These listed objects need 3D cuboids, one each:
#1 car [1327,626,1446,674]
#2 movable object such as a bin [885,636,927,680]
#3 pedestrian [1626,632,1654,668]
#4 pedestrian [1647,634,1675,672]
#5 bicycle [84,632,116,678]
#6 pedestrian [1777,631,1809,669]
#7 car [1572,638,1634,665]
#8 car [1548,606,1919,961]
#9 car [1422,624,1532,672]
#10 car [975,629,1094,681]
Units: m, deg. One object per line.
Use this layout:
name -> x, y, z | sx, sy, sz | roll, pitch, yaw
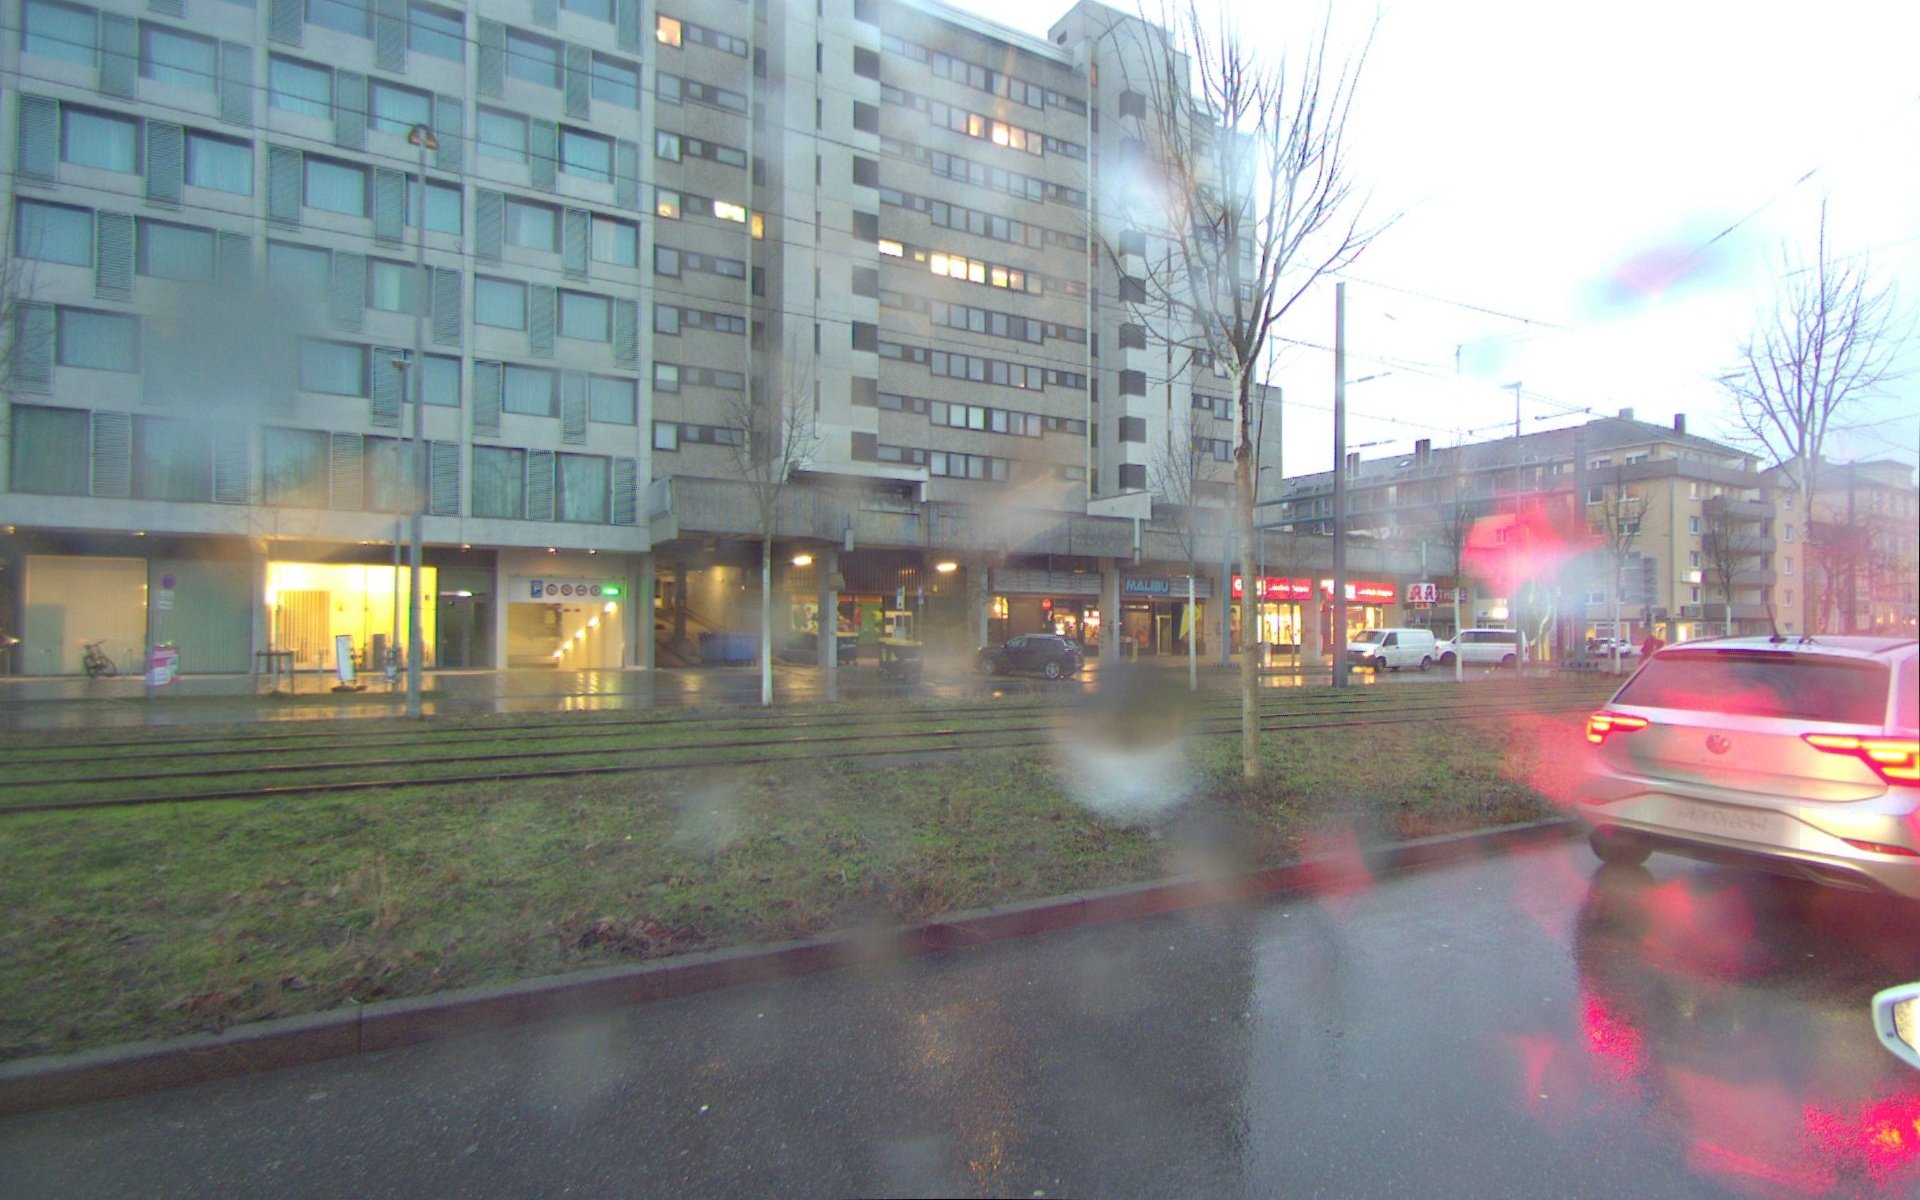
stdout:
car -> 20.061, 2.342, 47.225 | 5.491, 2.073, 1.987 | 2, 0, -26
movable object such as a bin -> -1.879, 2.014, 35.023 | 1.023, 1.445, 1.061 | 2, 0, -41
pedestrian -> 40.017, 2.934, 59.127 | 0.988, 2.040, 0.962 | 0, -1, -2
pedestrian -> 38.456, 2.874, 55.109 | 1.051, 2.040, 1.007 | 0, -2, 24
bicycle -> -25.123, 1.604, 29.357 | 0.460, 1.255, 1.527 | 2, 0, -31
pedestrian -> 44.865, 2.686, 54.106 | 1.253, 2.040, 1.004 | -1, -2, 36
car -> 51.230, 4.066, 80.062 | 1.826, 1.968, 3.720 | 2, 0, -37
car -> 5.539, 0.849, 6.120 | 3.954, 1.554, 1.685 | 1, -1, -31
car -> 27.155, 2.507, 52.922 | 4.734, 2.274, 2.001 | 2, 0, 15
car -> 2.836, 2.055, 38.345 | 4.066, 1.715, 1.982 | 2, 0, 28
